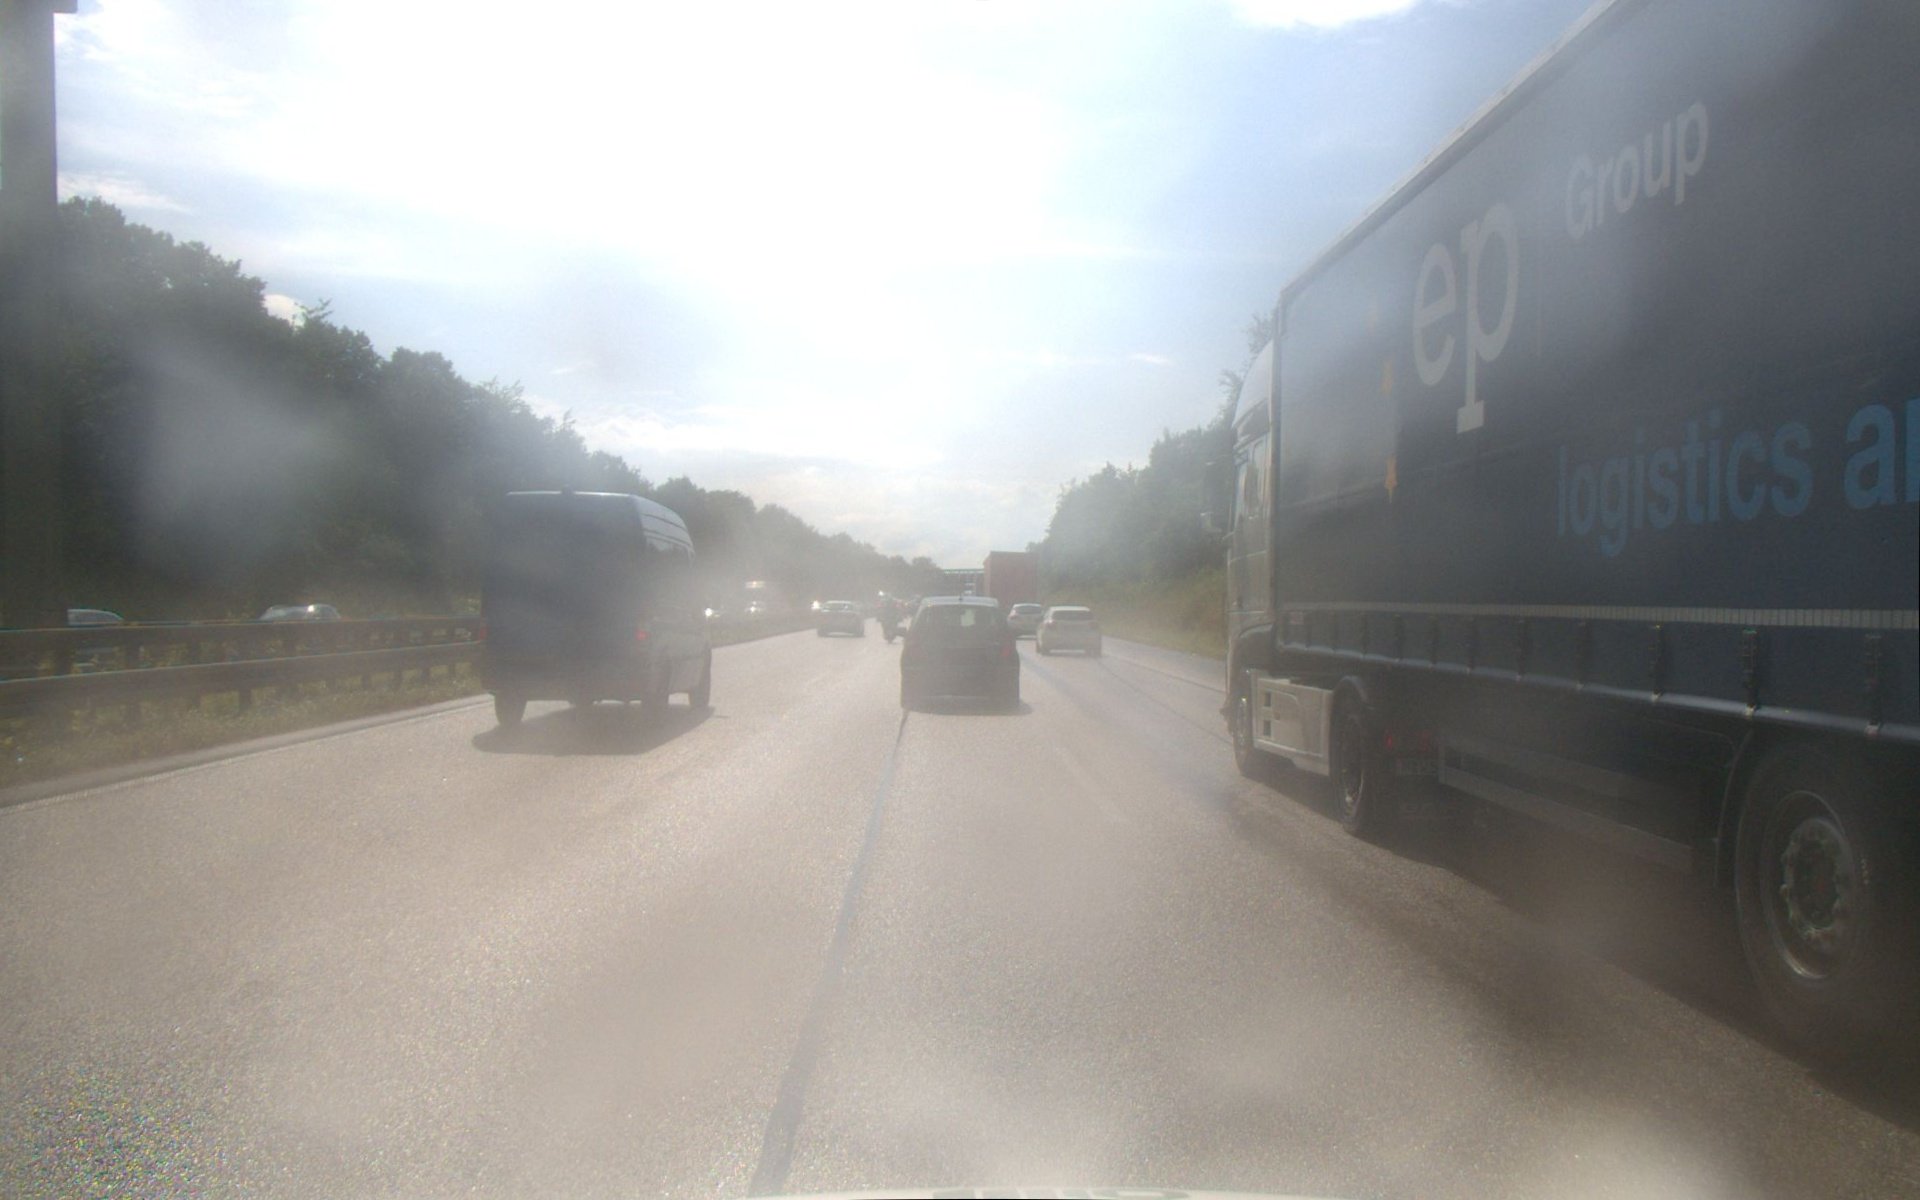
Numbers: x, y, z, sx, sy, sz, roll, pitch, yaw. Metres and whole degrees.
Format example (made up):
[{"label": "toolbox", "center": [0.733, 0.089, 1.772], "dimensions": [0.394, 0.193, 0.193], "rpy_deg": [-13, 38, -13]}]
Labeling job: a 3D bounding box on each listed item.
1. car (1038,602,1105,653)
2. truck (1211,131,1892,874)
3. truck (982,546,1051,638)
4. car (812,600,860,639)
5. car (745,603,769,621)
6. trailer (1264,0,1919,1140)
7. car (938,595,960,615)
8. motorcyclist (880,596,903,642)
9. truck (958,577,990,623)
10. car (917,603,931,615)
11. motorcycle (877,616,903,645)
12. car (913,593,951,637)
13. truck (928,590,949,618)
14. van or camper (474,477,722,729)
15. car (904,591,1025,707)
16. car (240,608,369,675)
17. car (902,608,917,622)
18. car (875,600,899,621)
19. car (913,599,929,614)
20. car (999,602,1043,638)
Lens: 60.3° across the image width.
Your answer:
[{"label": "car", "center": [3.334, 0.799, 49.976], "dimensions": [1.658, 1.450, 4.219], "rpy_deg": [1, 0, -1]}, {"label": "truck", "center": [3.838, -0.515, 12.795], "dimensions": [2.554, 4.066, 7.289], "rpy_deg": [1, 0, -1]}, {"label": "truck", "center": [3.078, -0.375, 95.484], "dimensions": [3.575, 4.803, 16.779], "rpy_deg": [1, 0, 1]}, {"label": "car", "center": [-5.226, 0.830, 70.154], "dimensions": [1.817, 1.578, 3.484], "rpy_deg": [1, 0, -1]}, {"label": "car", "center": [-19.563, 1.189, 159.221], "dimensions": [1.791, 1.692, 4.630], "rpy_deg": [1, 0, -1]}, {"label": "trailer", "center": [3.916, -0.523, 6.741], "dimensions": [2.581, 4.066, 14.061], "rpy_deg": [1, 0, -1]}, {"label": "car", "center": [-0.772, 0.363, 117.736], "dimensions": [1.521, 1.407, 3.209], "rpy_deg": [1, 0, -1]}, {"label": "motorcyclist", "center": [-2.513, 0.694, 60.572], "dimensions": [0.785, 1.662, 1.013], "rpy_deg": [1, -1, -1]}, {"label": "truck", "center": [1.466, 0.046, 172.028], "dimensions": [3.189, 4.558, 12.421], "rpy_deg": [1, 0, 1]}, {"label": "car", "center": [-5.270, 1.332, 241.498], "dimensions": [1.953, 1.731, 3.999], "rpy_deg": [0, 0, -1]}, {"label": "motorcycle", "center": [-2.533, 1.097, 60.353], "dimensions": [0.872, 1.018, 2.895], "rpy_deg": [1, 0, -1]}, {"label": "car", "center": [-1.162, 0.610, 69.116], "dimensions": [1.500, 1.777, 3.484], "rpy_deg": [1, 0, -1]}, {"label": "truck", "center": [-2.317, 0.478, 178.741], "dimensions": [2.147, 2.926, 4.848], "rpy_deg": [1, 0, -1]}, {"label": "van or camper", "center": [-4.339, 0.051, 20.760], "dimensions": [1.953, 2.715, 5.383], "rpy_deg": [1, 0, -1]}, {"label": "car", "center": [0.036, 0.695, 24.941], "dimensions": [1.683, 1.595, 3.484], "rpy_deg": [1, 0, -1]}, {"label": "car", "center": [-17.637, 1.091, 44.690], "dimensions": [1.817, 1.692, 4.235], "rpy_deg": [1, 0, -1]}, {"label": "car", "center": [-5.353, 1.546, 175.013], "dimensions": [1.455, 1.414, 3.197], "rpy_deg": [1, 0, -1]}, {"label": "car", "center": [-5.400, 0.762, 122.530], "dimensions": [1.715, 1.482, 3.389], "rpy_deg": [1, 0, -1]}, {"label": "car", "center": [-5.082, 0.842, 216.227], "dimensions": [1.953, 2.049, 3.999], "rpy_deg": [0, 0, -1]}, {"label": "car", "center": [2.581, 0.843, 70.704], "dimensions": [1.646, 1.467, 3.904], "rpy_deg": [1, 0, -1]}]
